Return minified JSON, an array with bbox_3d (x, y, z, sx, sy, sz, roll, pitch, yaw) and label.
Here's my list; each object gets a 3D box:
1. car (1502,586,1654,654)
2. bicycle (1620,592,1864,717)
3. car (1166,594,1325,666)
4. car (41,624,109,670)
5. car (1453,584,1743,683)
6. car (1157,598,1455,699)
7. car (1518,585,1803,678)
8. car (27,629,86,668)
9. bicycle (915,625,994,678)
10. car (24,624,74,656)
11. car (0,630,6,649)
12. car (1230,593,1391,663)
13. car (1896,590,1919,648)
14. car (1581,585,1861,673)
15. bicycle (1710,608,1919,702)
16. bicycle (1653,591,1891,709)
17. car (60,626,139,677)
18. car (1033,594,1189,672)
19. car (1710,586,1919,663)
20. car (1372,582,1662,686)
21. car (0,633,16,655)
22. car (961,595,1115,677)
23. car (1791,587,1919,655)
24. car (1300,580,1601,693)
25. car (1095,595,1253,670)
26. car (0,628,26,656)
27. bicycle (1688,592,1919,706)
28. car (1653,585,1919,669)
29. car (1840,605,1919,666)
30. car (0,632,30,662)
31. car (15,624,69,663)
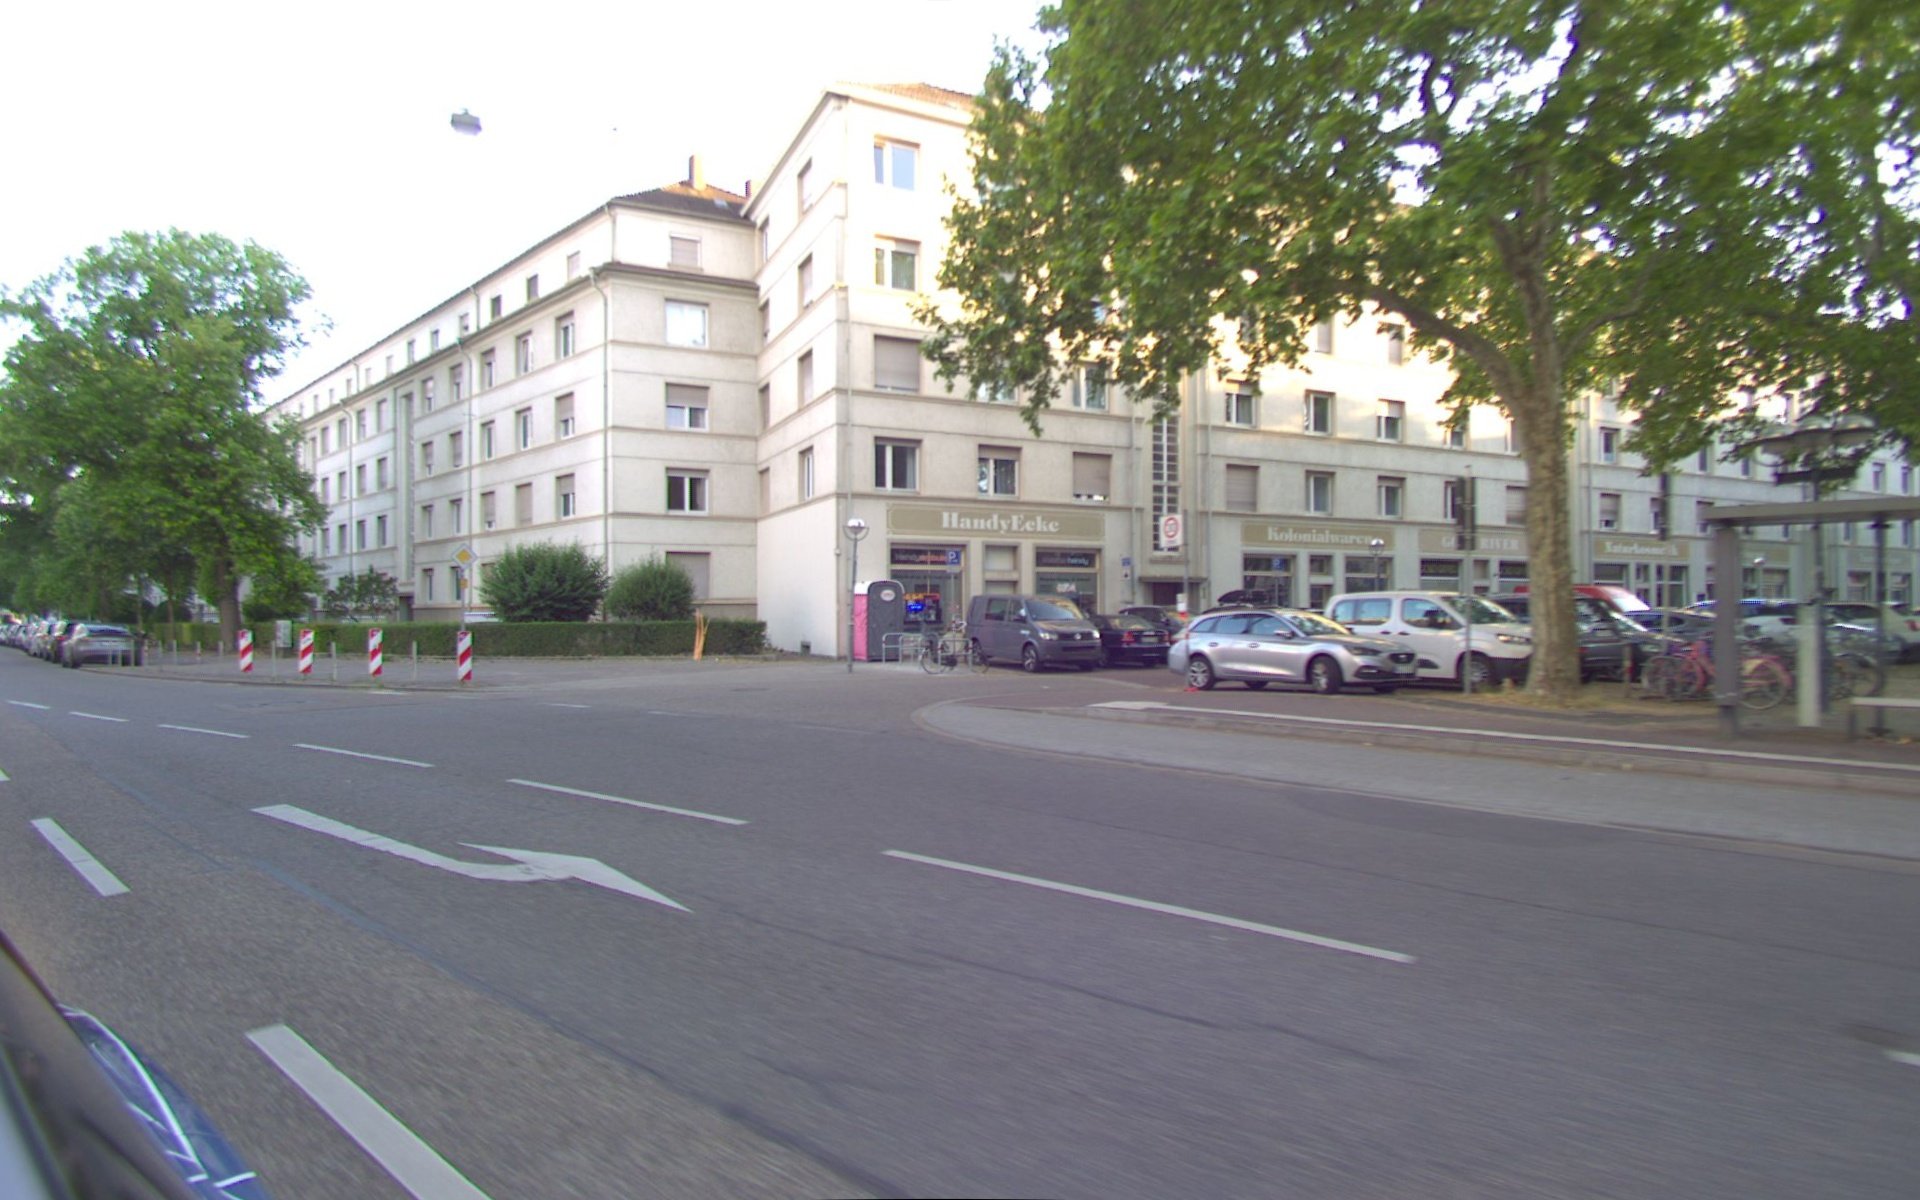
[{"bbox_3d":[23.687,0.722,38.991,1.965,2.460,4.656,1,0,-26],"label":"car"},{"bbox_3d":[11.091,0.714,14.525,0.680,1.626,2.754,-1,0,-24],"label":"bicycle"},{"bbox_3d":[8.456,0.829,30.409,1.965,1.970,4.656,1,0,-26],"label":"car"},{"bbox_3d":[-36.220,1.856,41.386,1.867,1.703,4.263,-1,0,-44],"label":"car"},{"bbox_3d":[12.956,0.738,20.932,1.965,1.795,4.655,1,-3,-28],"label":"car"},{"bbox_3d":[5.842,0.857,17.701,1.967,1.515,4.652,2,-4,-35],"label":"car"},{"bbox_3d":[15.010,0.731,22.014,1.965,1.795,4.655,1,-3,-28],"label":"car"},{"bbox_3d":[-41.495,2.180,46.435,1.867,1.612,4.263,-1,0,-44],"label":"car"},{"bbox_3d":[-0.131,1.236,24.469,1.776,1.215,0.649,-1,0,-16],"label":"bicycle"},{"bbox_3d":[-49.393,2.128,54.848,1.867,1.612,4.263,-1,0,-44],"label":"car"},{"bbox_3d":[-86.904,3.594,90.763,1.867,1.612,4.263,-1,0,-44],"label":"car"},{"bbox_3d":[10.749,0.799,31.407,1.965,1.970,4.656,1,0,-26],"label":"car"},{"bbox_3d":[31.777,0.531,30.558,2.057,1.795,4.655,1,-3,-28],"label":"car"},{"bbox_3d":[17.134,0.719,23.097,1.965,1.795,4.655,1,-3,-28],"label":"car"},{"bbox_3d":[13.921,0.831,16.482,0.680,1.394,2.754,-1,0,-24],"label":"bicycle"},{"bbox_3d":[12.269,0.698,15.453,0.795,1.626,2.754,-1,0,-24],"label":"bicycle"},{"bbox_3d":[-30.458,1.782,35.780,1.867,1.612,4.003,-1,0,-44],"label":"car"},{"bbox_3d":[4.063,0.838,28.130,1.965,1.970,4.656,1,0,-26],"label":"car"},{"bbox_3d":[22.208,0.685,25.683,1.965,1.795,4.655,1,-3,-28],"label":"car"},{"bbox_3d":[10.800,0.723,20.028,1.965,1.795,4.655,1,-3,-28],"label":"car"},{"bbox_3d":[-76.230,3.496,80.274,1.867,1.612,4.263,-1,0,-44],"label":"car"},{"bbox_3d":[1.946,0.876,26.881,1.965,1.970,4.656,1,0,-26],"label":"car"},{"bbox_3d":[26.218,0.597,27.916,1.965,1.795,4.655,1,-3,-28],"label":"car"},{"bbox_3d":[8.755,0.710,18.571,1.965,1.795,4.655,1,-3,-28],"label":"car"},{"bbox_3d":[6.047,0.861,29.226,1.965,1.970,4.656,1,0,-26],"label":"car"},{"bbox_3d":[-69.260,3.052,73.561,1.867,1.879,4.263,-1,0,-44],"label":"car"},{"bbox_3d":[13.209,0.713,15.969,0.795,1.626,2.754,-1,0,-24],"label":"bicycle"},{"bbox_3d":[19.637,0.714,24.183,1.965,1.795,4.655,1,-3,-28],"label":"car"},{"bbox_3d":[28.600,0.999,29.011,1.965,1.748,4.655,1,-3,-28],"label":"car"},{"bbox_3d":[-62.998,3.118,67.071,1.867,1.840,4.263,-1,0,-44],"label":"car"},{"bbox_3d":[-45.833,2.133,50.518,1.867,1.787,4.263,-1,0,-44],"label":"car"}]
